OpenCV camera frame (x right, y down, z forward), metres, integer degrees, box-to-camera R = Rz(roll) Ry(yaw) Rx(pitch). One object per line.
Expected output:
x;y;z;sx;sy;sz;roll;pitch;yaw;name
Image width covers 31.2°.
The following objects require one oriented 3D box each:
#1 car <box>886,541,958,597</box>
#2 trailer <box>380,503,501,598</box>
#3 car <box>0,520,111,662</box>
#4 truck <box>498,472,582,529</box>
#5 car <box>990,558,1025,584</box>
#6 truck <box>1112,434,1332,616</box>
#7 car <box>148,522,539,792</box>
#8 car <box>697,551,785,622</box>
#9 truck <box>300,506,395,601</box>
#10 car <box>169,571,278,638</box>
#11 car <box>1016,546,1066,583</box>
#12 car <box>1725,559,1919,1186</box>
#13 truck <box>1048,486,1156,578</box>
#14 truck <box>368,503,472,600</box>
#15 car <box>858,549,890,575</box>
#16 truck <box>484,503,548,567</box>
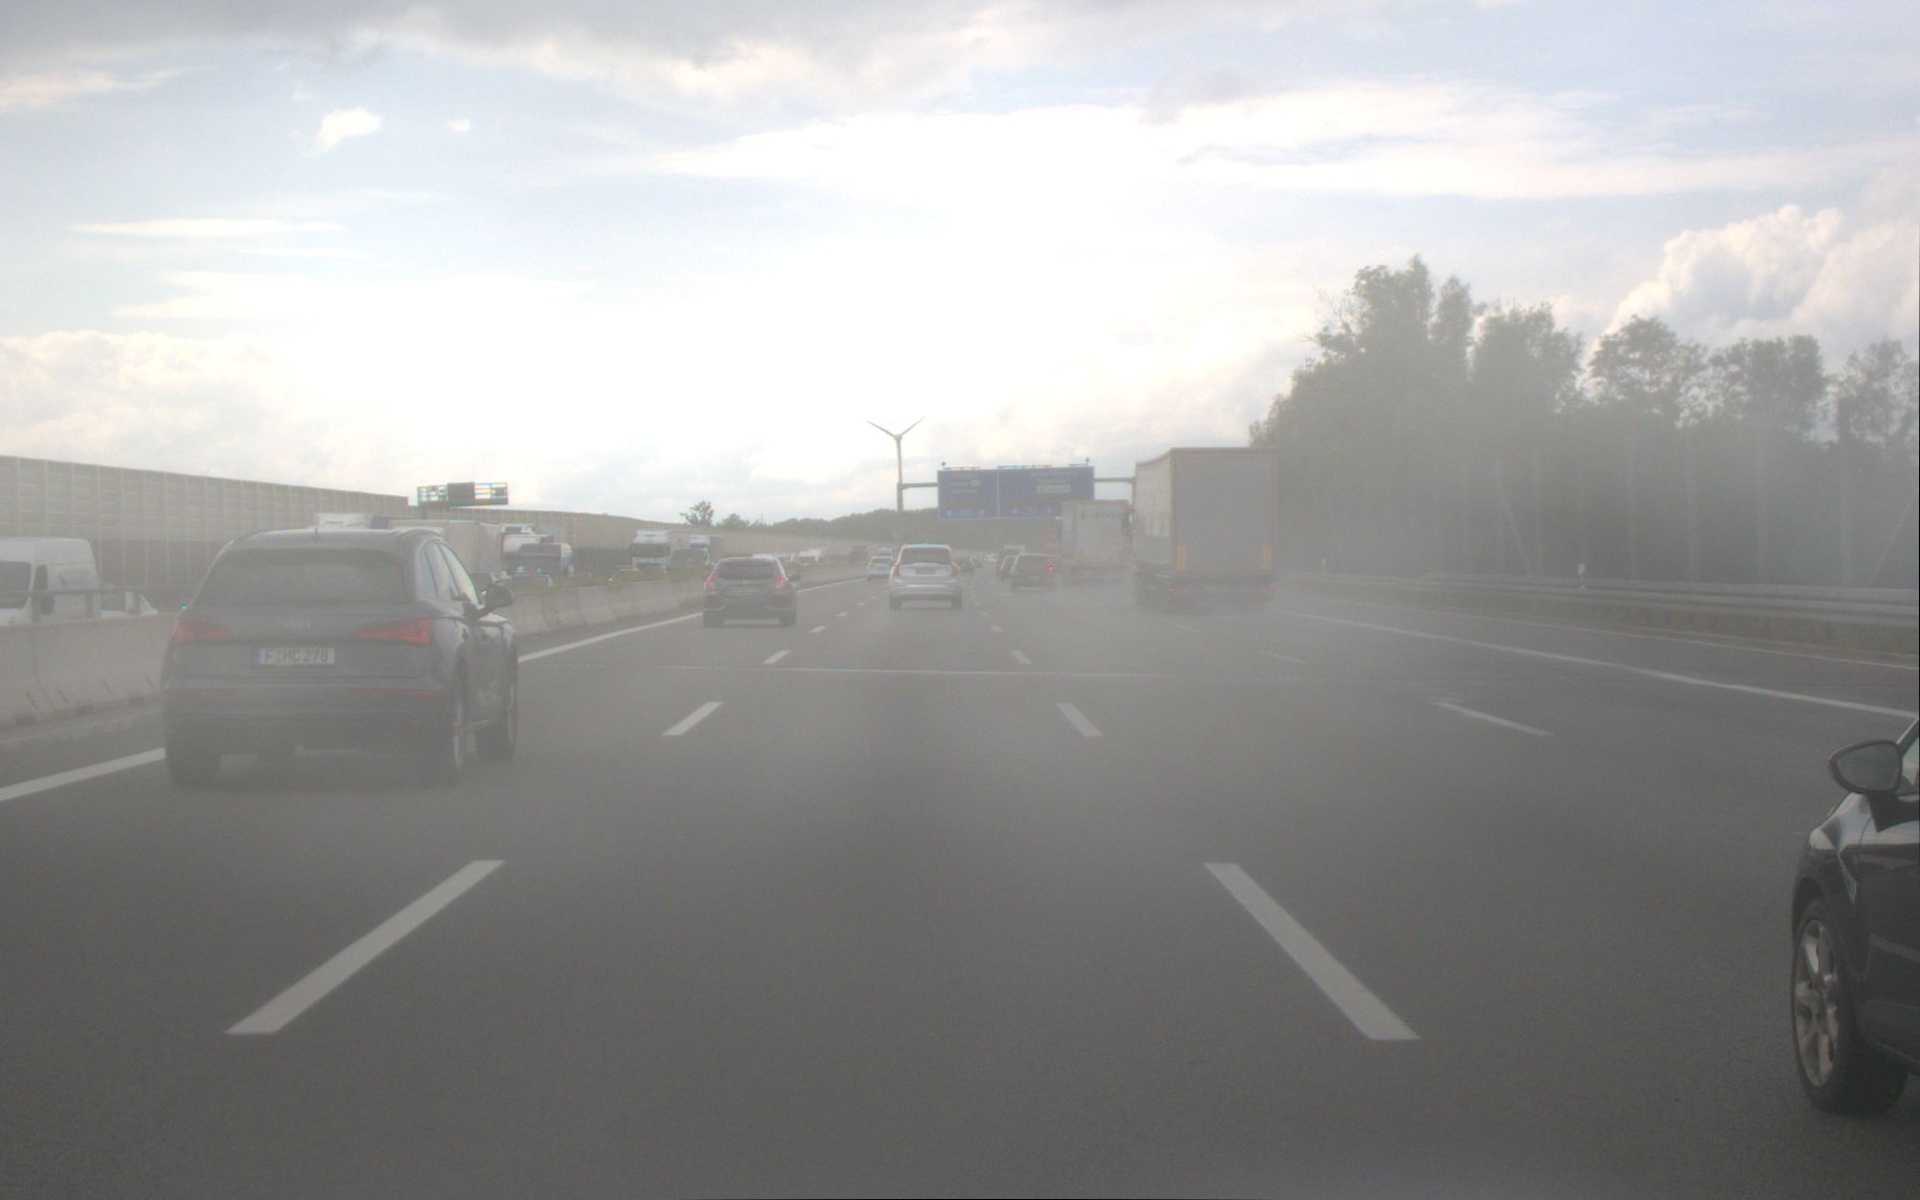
-1.053;-0.863;93.266;1.772;1.436;4.056;0;2;-3;car
-22.596;-2.217;150.410;3.079;3.921;14.983;1;1;0;trailer
-14.944;-0.186;53.139;2.159;2.064;6.015;-1;1;0;car
-25.612;-6.052;210.646;3.266;3.340;16.086;1;1;0;truck
2.761;-1.688;200.798;1.835;1.436;4.056;0;2;-2;car
6.526;-1.929;88.292;4.179;4.273;12.614;1;1;-2;truck
-4.196;0.302;24.229;1.908;1.685;5.169;0;1;-1;car
-4.548;-0.308;71.506;1.760;1.364;5.061;0;2;-3;car
-27.271;-2.120;153.414;2.710;4.060;8.915;1;1;0;truck
-19.120;0.097;89.427;1.923;1.593;4.253;-1;1;0;car
3.325;-1.464;141.361;1.835;1.436;4.056;0;2;-2;car
2.947;0.638;8.249;1.447;1.436;3.164;0;1;-1;car
6.690;-3.249;164.040;4.243;4.162;11.991;1;1;-2;truck
-22.545;-2.073;143.935;3.079;3.921;8.054;1;1;0;truck
-5.046;-2.230;201.327;1.772;1.436;3.874;0;2;-3;car
-23.484;-3.457;182.177;2.321;3.336;8.354;1;1;0;truck
